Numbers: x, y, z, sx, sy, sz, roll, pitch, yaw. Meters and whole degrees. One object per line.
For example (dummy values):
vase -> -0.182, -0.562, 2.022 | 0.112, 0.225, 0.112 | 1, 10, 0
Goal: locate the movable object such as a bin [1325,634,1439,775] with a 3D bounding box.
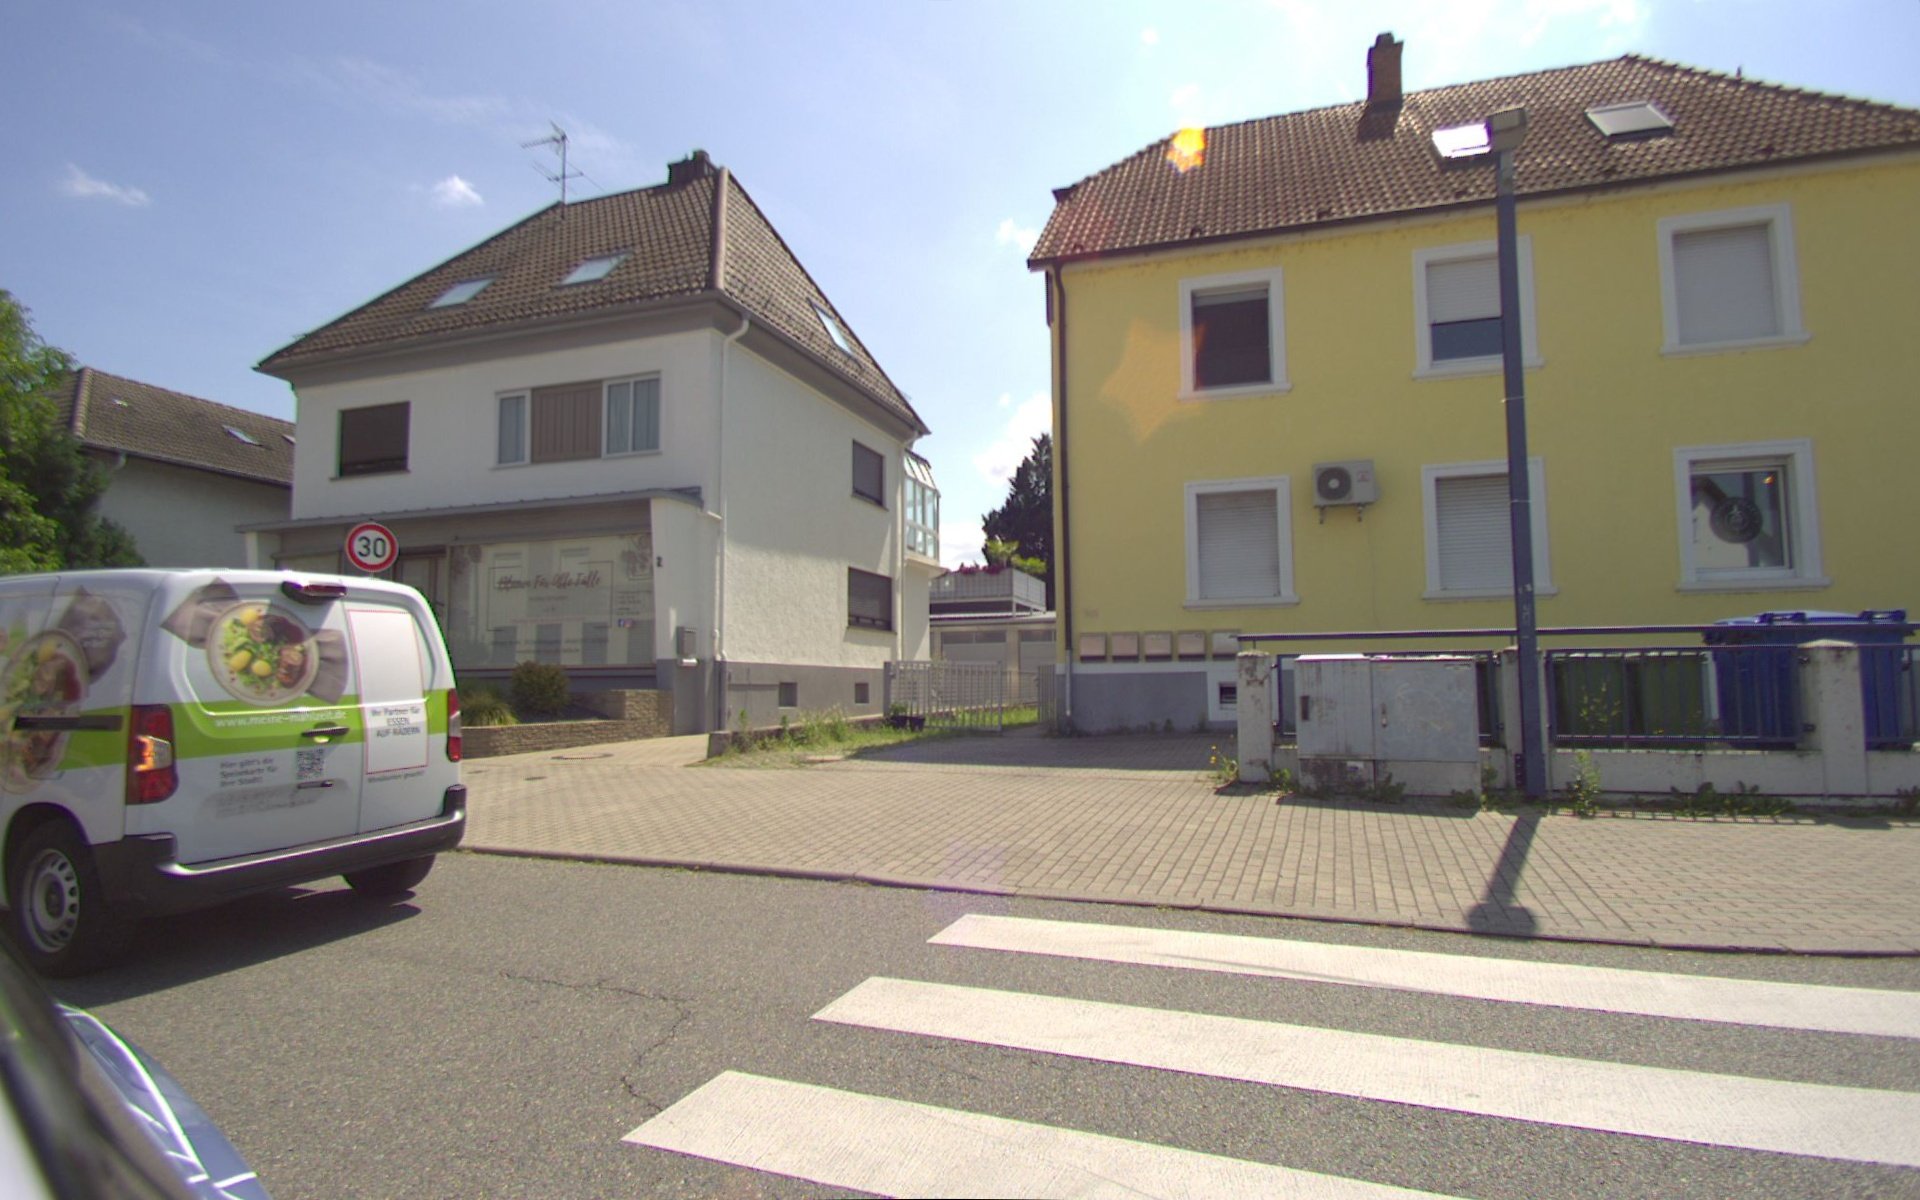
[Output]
movable object such as a bin -> 3.931, 0.958, 9.491 | 0.896, 1.235, 0.881 | -2, -4, 22

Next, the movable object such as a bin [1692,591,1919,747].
movable object such as a bin -> 7.097, 0.579, 8.464 | 1.261, 1.223, 0.840 | -1, -4, 7

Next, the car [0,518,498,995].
car -> -5.028, 0.710, 5.686 | 4.529, 1.869, 1.804 | -3, -1, 22
